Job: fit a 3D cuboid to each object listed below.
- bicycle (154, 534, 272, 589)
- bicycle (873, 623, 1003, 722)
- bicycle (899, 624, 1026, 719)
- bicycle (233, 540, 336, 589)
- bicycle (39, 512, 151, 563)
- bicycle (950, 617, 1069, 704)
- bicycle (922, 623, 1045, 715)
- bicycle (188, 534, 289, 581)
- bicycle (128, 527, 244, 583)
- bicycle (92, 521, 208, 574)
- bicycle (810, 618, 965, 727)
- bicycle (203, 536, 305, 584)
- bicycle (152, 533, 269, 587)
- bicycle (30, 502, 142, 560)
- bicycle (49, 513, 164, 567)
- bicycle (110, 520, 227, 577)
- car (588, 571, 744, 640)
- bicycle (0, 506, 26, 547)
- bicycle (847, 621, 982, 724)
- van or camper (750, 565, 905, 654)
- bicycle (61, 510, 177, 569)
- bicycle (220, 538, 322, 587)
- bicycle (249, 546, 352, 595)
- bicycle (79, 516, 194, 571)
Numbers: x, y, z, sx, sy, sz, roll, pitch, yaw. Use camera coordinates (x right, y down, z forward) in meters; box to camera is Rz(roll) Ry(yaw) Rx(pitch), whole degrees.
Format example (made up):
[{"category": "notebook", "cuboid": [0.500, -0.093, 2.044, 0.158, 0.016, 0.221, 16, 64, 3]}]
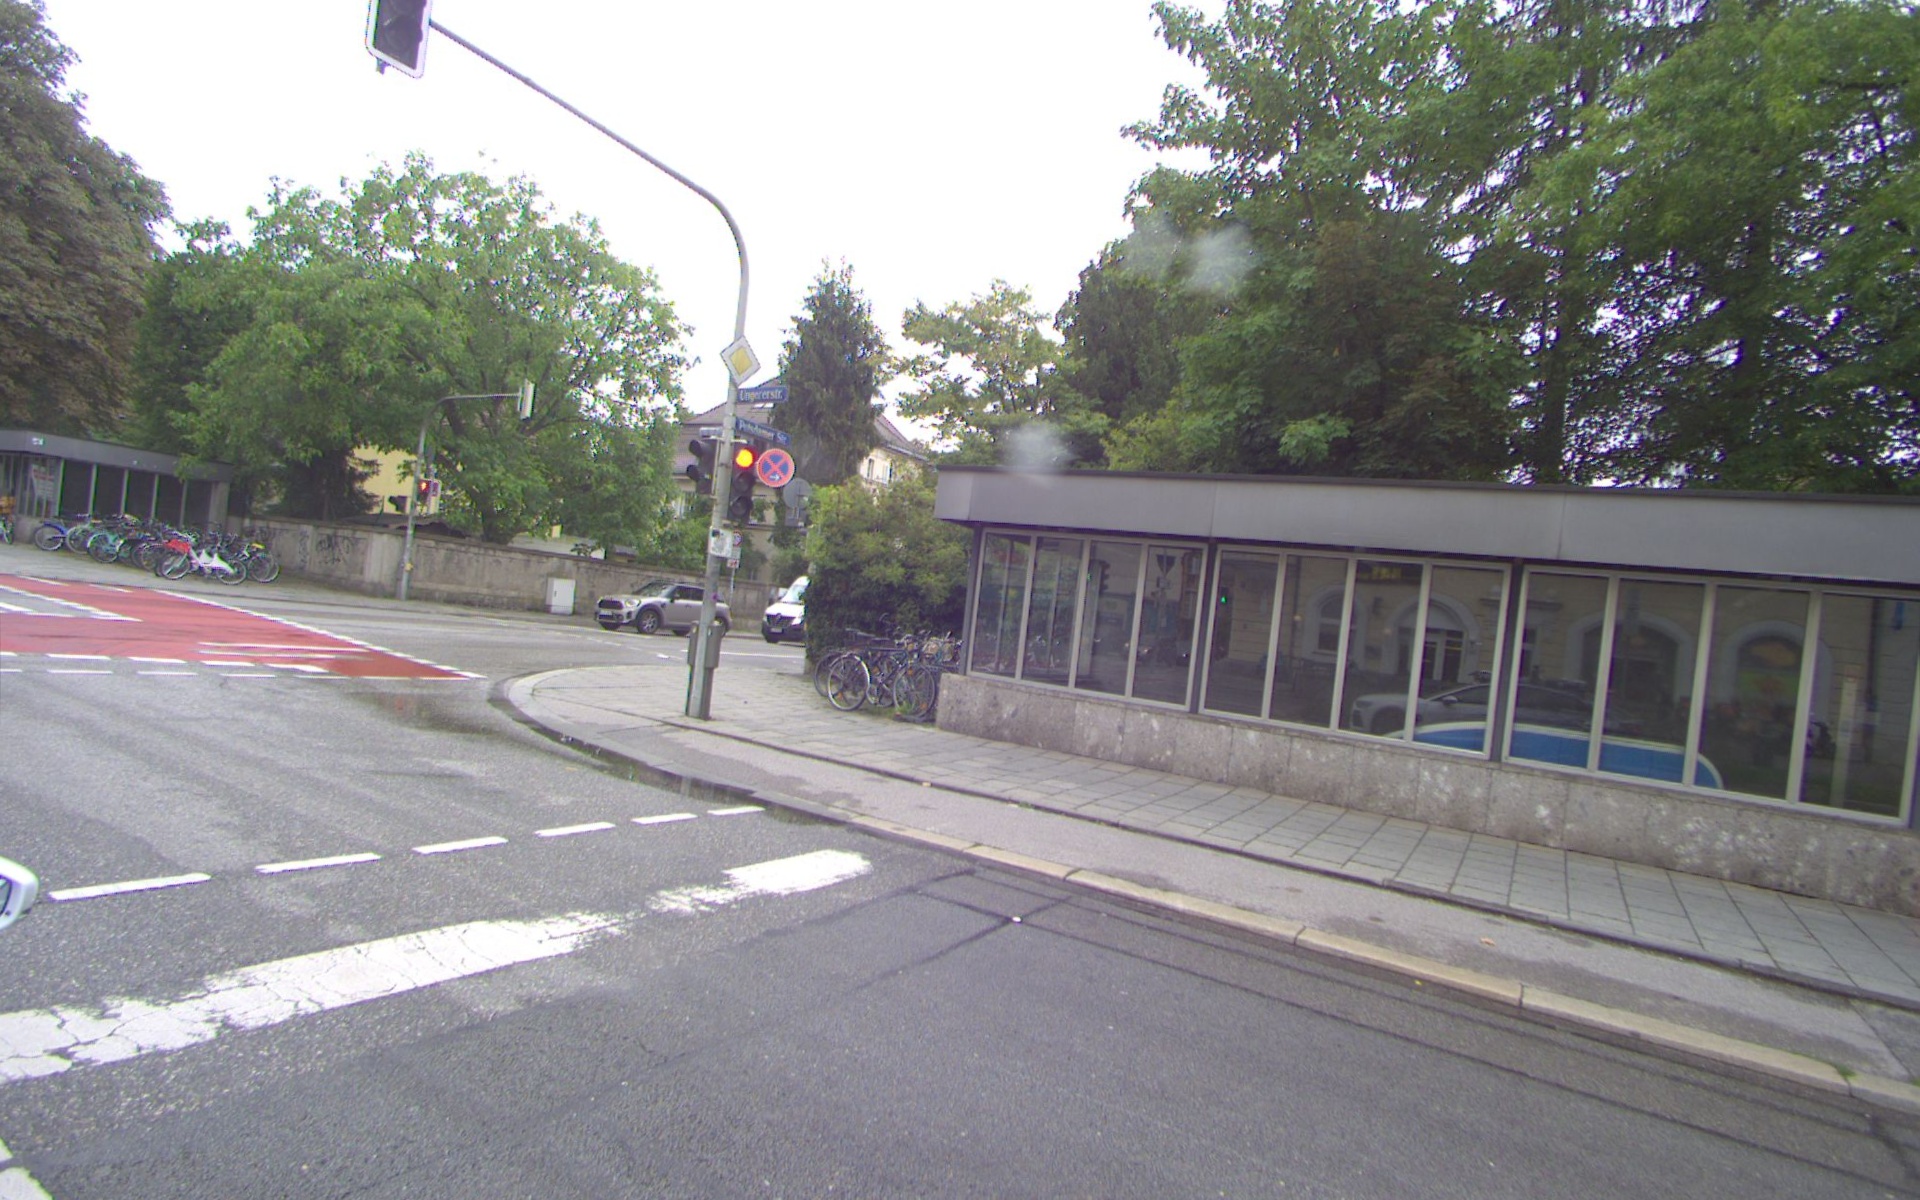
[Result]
[{"category": "bicycle", "cuboid": [-17.931, -0.916, 24.190, 0.594, 1.026, 2.141, 7, 0, 39]}, {"category": "bicycle", "cuboid": [-0.317, 0.971, 13.786, 1.707, 1.135, 0.469, 6, 0, 32]}, {"category": "bicycle", "cuboid": [0.021, 1.003, 14.335, 1.707, 1.135, 0.469, 6, 0, 32]}, {"category": "bicycle", "cuboid": [-18.154, -0.941, 27.080, 0.625, 1.026, 2.141, 7, 0, 39]}, {"category": "bicycle", "cuboid": [-23.020, -1.651, 26.807, 0.594, 1.026, 2.141, 7, 0, 39]}, {"category": "bicycle", "cuboid": [0.748, 0.916, 15.496, 1.707, 1.135, 0.469, 6, 0, 32]}, {"category": "bicycle", "cuboid": [0.332, 1.006, 14.849, 1.707, 1.135, 0.469, 6, 0, 32]}, {"category": "bicycle", "cuboid": [-20.175, -1.169, 28.178, 0.625, 1.026, 2.141, 7, 0, 39]}, {"category": "bicycle", "cuboid": [-19.127, -1.091, 24.907, 0.594, 1.084, 2.141, 7, 0, 39]}, {"category": "bicycle", "cuboid": [-20.397, -1.309, 25.384, 0.594, 1.026, 2.141, 7, 0, 39]}, {"category": "bicycle", "cuboid": [-0.937, 0.893, 12.718, 1.858, 1.135, 0.600, 6, 0, 32]}, {"category": "bicycle", "cuboid": [-19.493, -1.091, 27.819, 0.625, 1.026, 2.141, 7, 0, 39]}, {"category": "bicycle", "cuboid": [-18.346, -0.971, 24.682, 0.625, 1.026, 2.141, 7, 0, 39]}, {"category": "bicycle", "cuboid": [-23.590, -1.838, 27.194, 0.594, 1.233, 2.141, 7, 0, 39]}, {"category": "bicycle", "cuboid": [-22.303, -1.556, 26.328, 0.594, 1.075, 2.141, 7, 0, 39]}, {"category": "bicycle", "cuboid": [-19.731, -1.266, 25.126, 0.594, 1.114, 2.141, 7, 0, 39]}, {"category": "car", "cuboid": [-8.517, 0.203, 29.484, 1.668, 1.532, 4.172, 7, -1, 33]}, {"category": "bicycle", "cuboid": [-26.320, -2.064, 27.462, 1.981, 1.027, 0.557, 7, 0, 30]}, {"category": "bicycle", "cuboid": [-0.614, 0.939, 13.288, 1.707, 1.135, 0.469, 6, 0, 32]}, {"category": "van or camper", "cuboid": [-4.503, 0.411, 35.202, 2.033, 2.499, 5.558, 7, -1, 33]}, {"category": "bicycle", "cuboid": [-21.696, -1.547, 25.992, 0.594, 1.192, 2.141, 7, 0, 39]}, {"category": "bicycle", "cuboid": [-18.791, -1.008, 27.480, 0.625, 1.026, 2.141, 7, 0, 39]}, {"category": "bicycle", "cuboid": [-17.476, -0.762, 26.714, 0.625, 1.026, 2.141, 7, 0, 39]}, {"category": "bicycle", "cuboid": [-21.021, -1.418, 25.725, 0.594, 1.099, 2.141, 7, 0, 39]}]
